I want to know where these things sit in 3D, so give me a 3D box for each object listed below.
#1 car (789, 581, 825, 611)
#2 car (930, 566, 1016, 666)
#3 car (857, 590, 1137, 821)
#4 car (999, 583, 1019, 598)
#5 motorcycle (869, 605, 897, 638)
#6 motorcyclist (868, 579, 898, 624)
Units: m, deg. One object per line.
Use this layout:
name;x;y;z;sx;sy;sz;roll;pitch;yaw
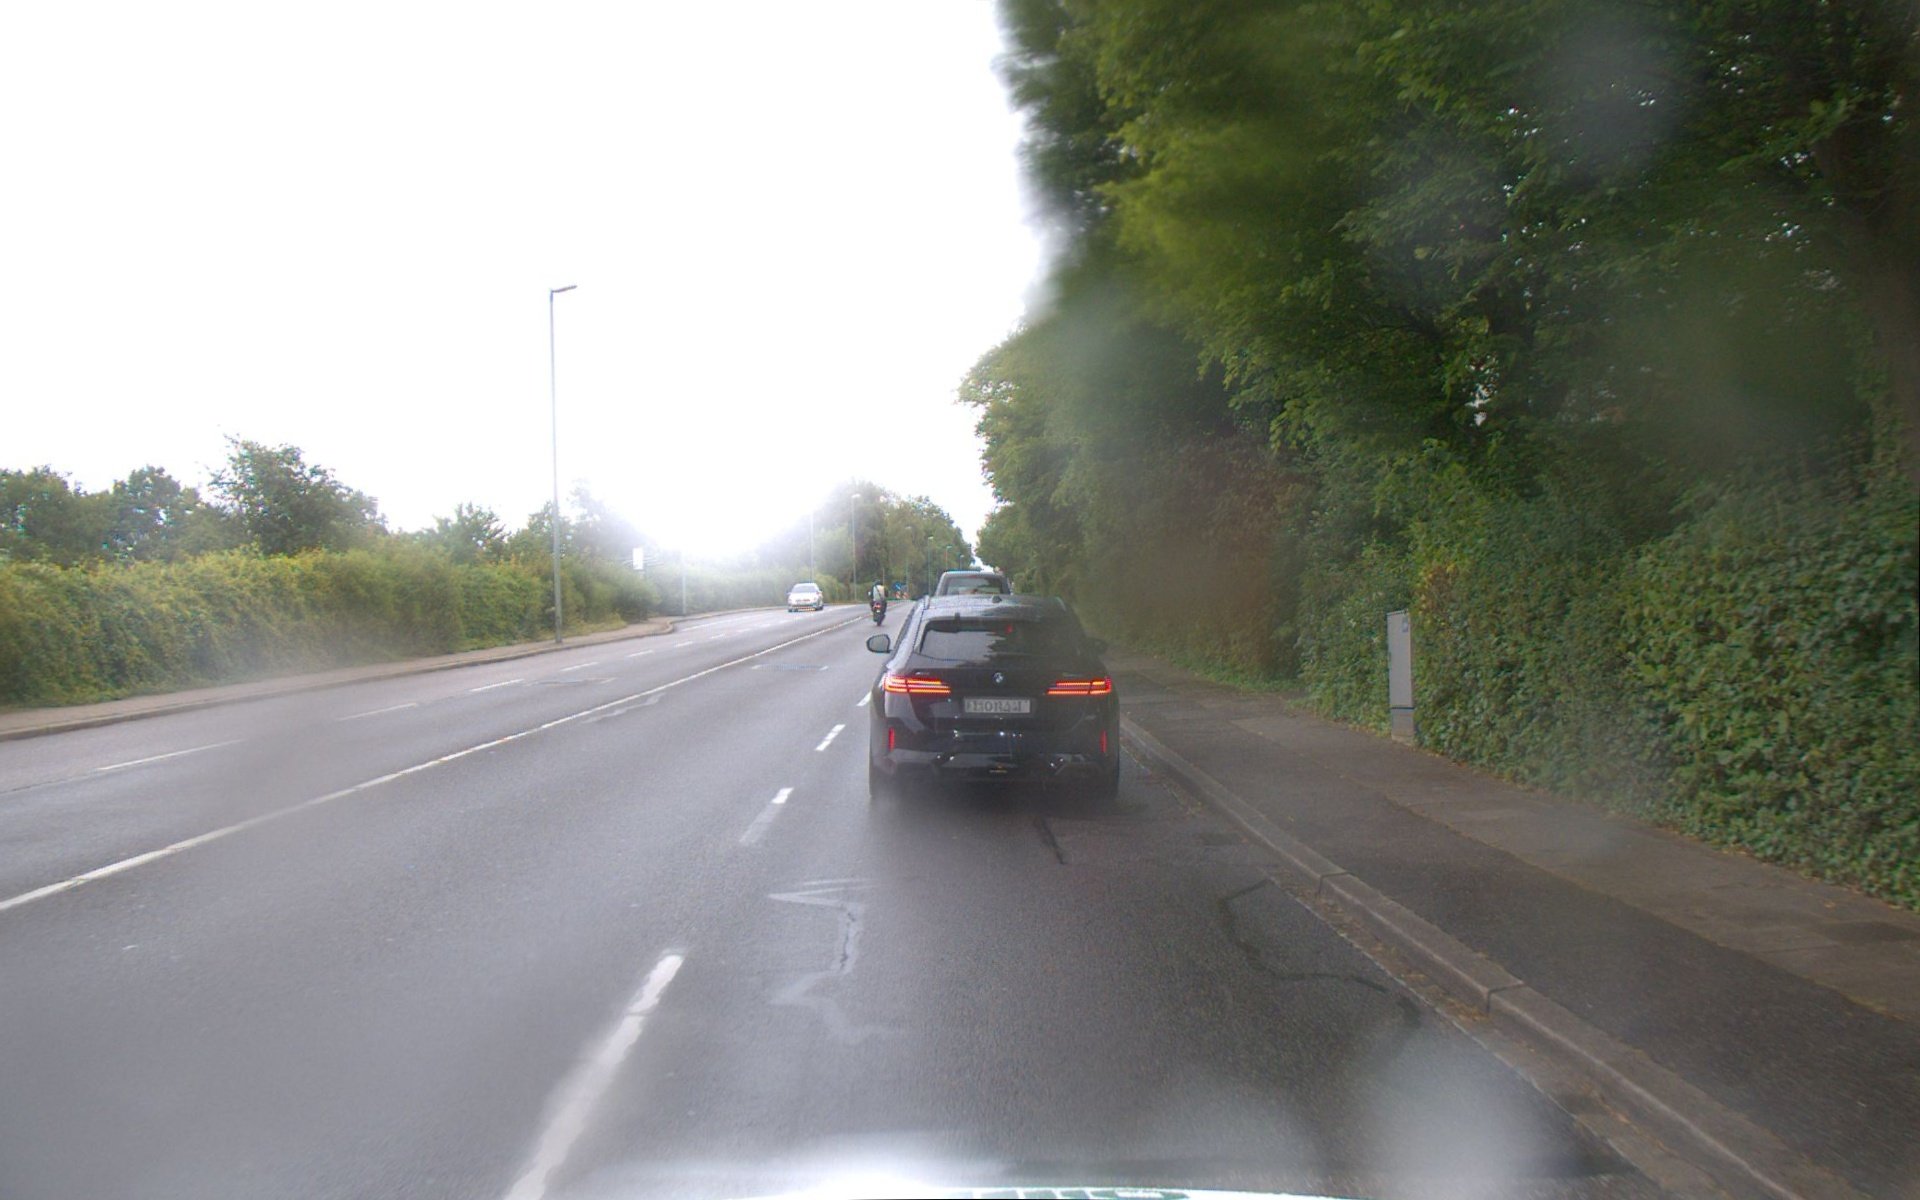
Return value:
car;-8.813;-0.234;95.353;1.720;1.595;3.999;-2;0;-1
car;0.264;0.279;33.553;1.595;1.865;4.000;-2;0;0
car;0.299;0.703;13.146;1.858;1.515;4.001;1;0;1
car;5.101;-0.974;170.650;1.895;1.467;4.410;-2;0;3
motorcycle;-2.781;0.769;59.802;0.858;1.144;2.741;1;0;0
motorcyclist;-2.792;0.061;59.914;1.018;1.595;0.855;1;-1;0
